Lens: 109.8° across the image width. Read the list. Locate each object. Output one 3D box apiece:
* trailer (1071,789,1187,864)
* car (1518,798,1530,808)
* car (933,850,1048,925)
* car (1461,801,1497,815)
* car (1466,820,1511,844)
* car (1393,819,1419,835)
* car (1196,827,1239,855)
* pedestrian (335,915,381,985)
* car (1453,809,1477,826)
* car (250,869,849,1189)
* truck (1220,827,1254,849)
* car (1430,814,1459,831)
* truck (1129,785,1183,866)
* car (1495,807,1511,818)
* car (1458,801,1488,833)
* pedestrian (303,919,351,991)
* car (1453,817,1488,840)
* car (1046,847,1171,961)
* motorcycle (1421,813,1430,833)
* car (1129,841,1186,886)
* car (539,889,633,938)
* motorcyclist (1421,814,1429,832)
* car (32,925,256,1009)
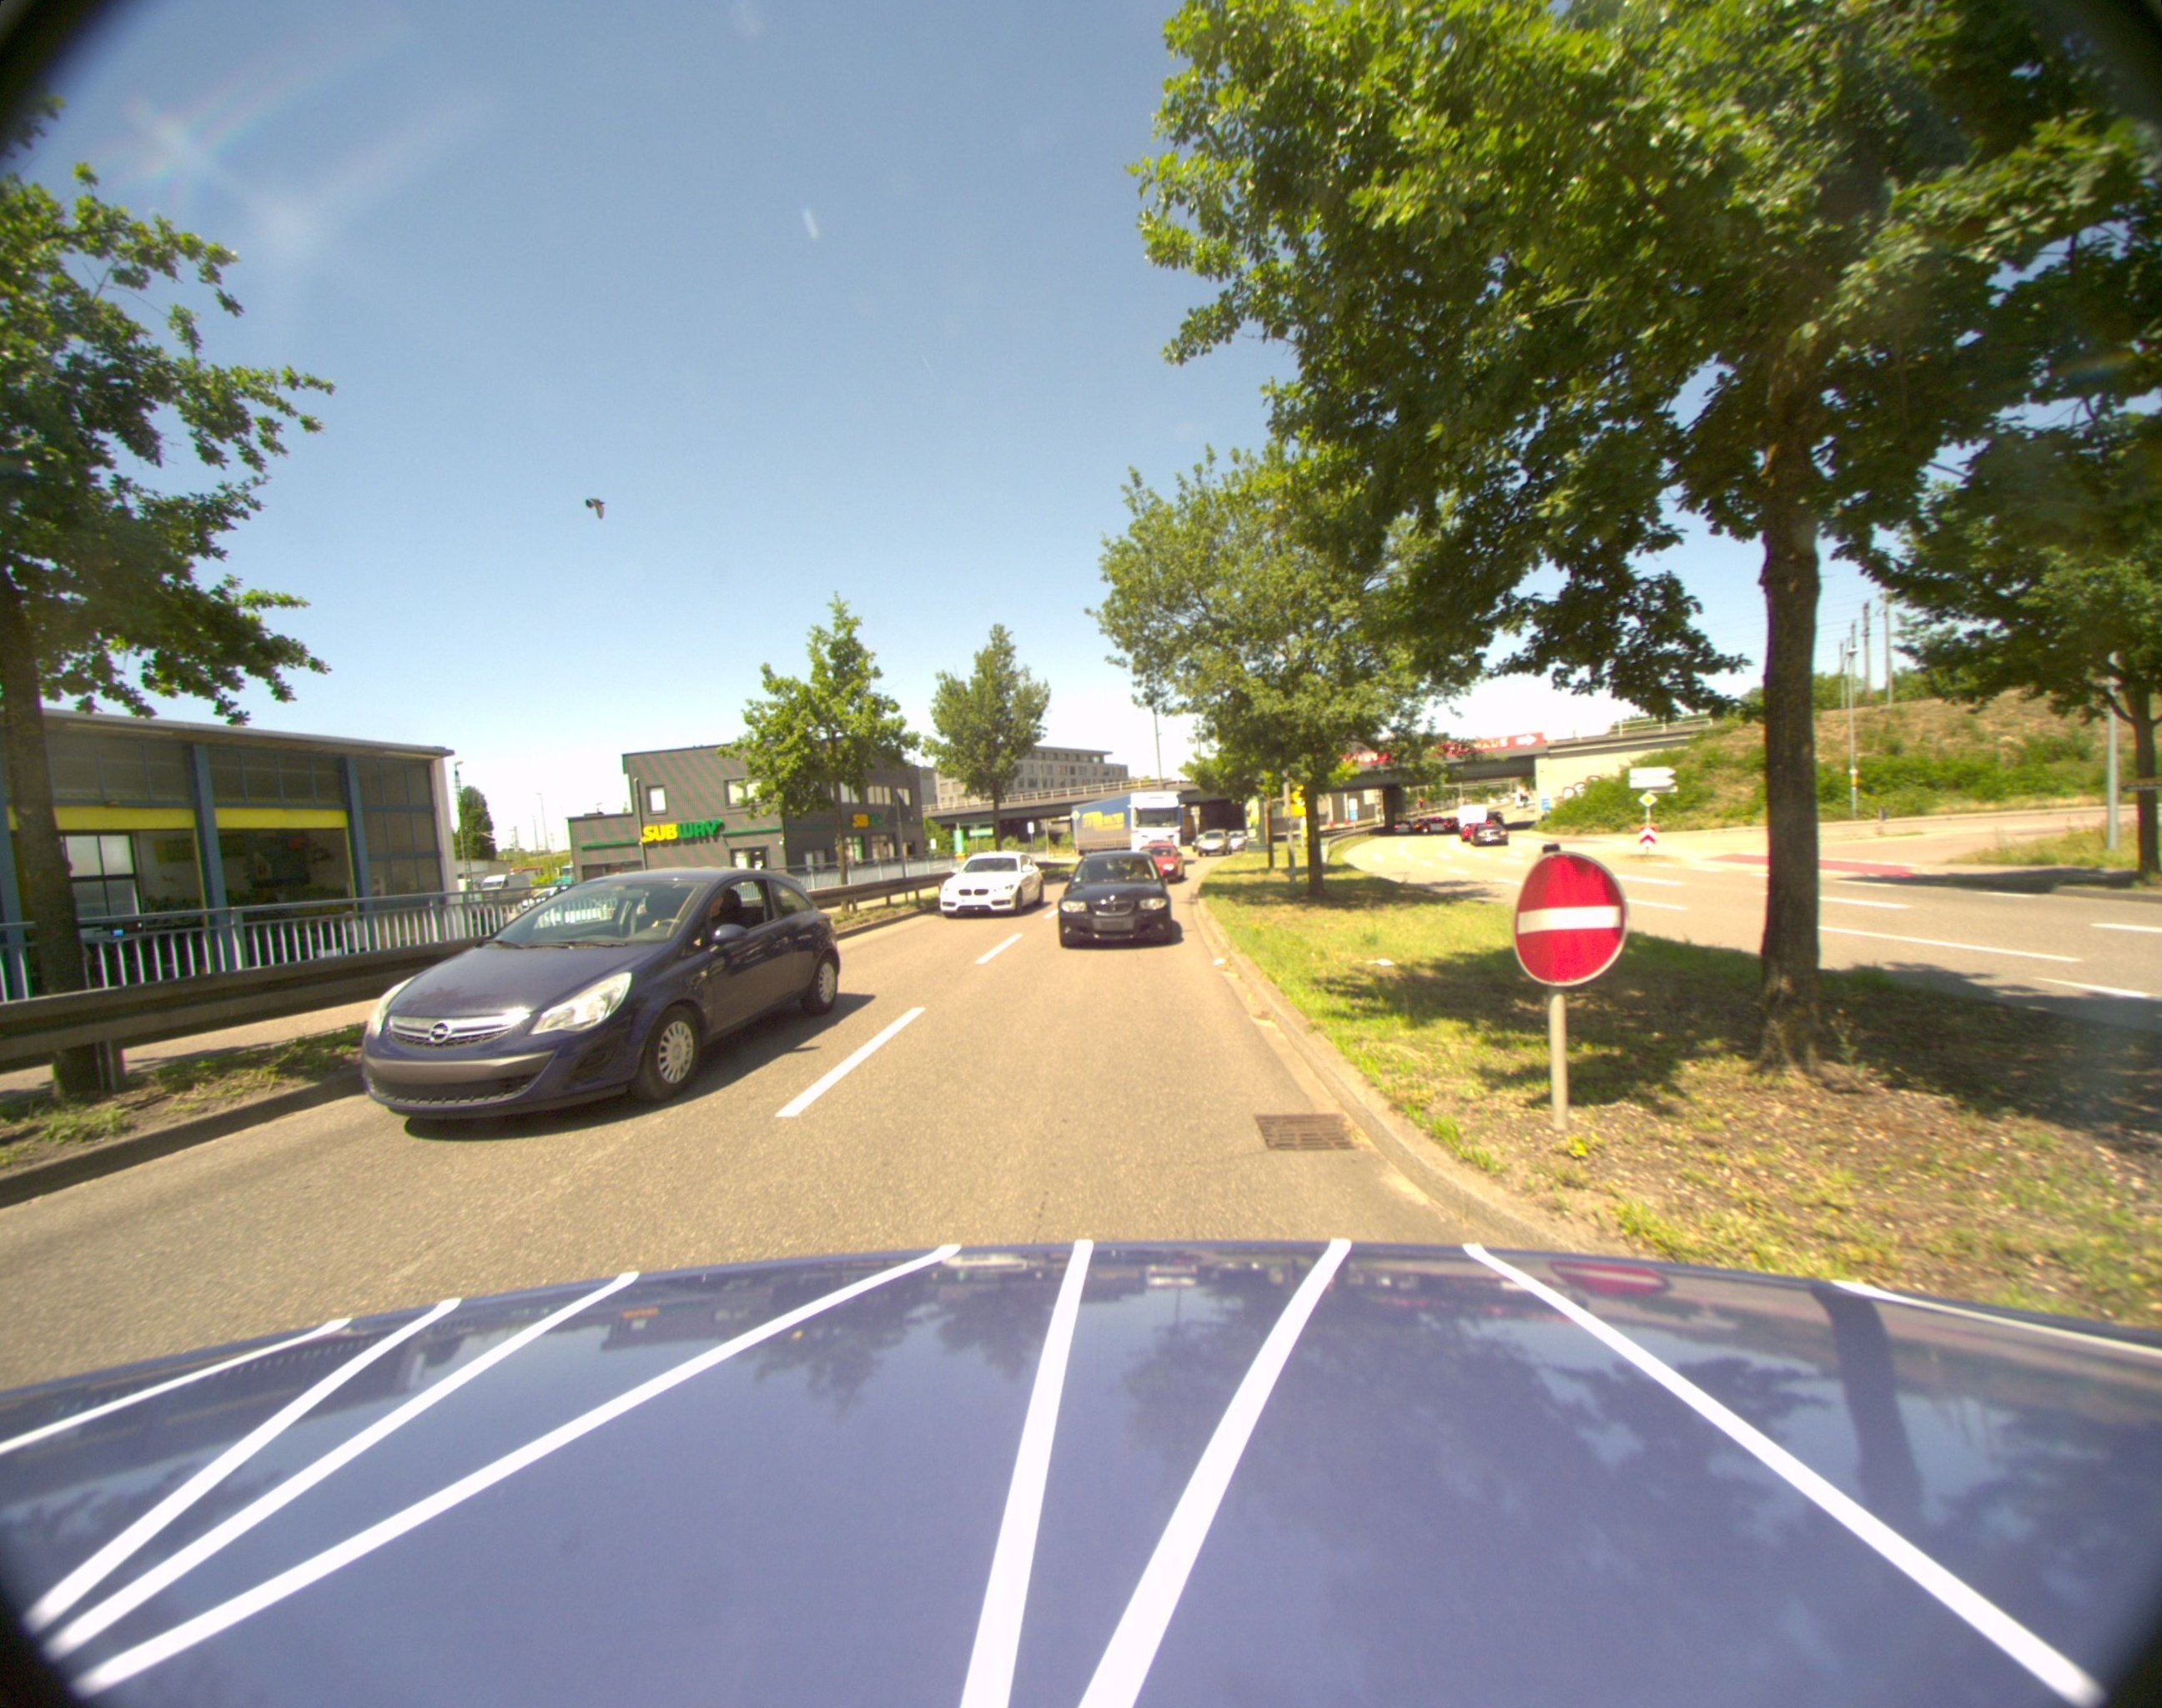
[{"bbox_3d":[2.658,-1.608,49.318,2.501,4.067,13.883,-5,2,-17],"label":"trailer"},{"bbox_3d":[96.733,-11.159,165.932,1.995,2.091,6.393,-2,3,33],"label":"car"},{"bbox_3d":[-2.049,0.719,18.393,1.761,1.435,4.053,-1,2,8],"label":"car"},{"bbox_3d":[57.794,-6.688,110.439,4.311,1.849,1.874,-3,3,20],"label":"car"},{"bbox_3d":[25.659,-1.413,47.987,1.811,1.326,4.573,-3,2,20],"label":"car"},{"bbox_3d":[32.367,-2.715,75.580,1.635,1.395,4.228,0,3,33],"label":"car"},{"bbox_3d":[9.231,-0.888,51.279,1.842,1.686,3.704,-2,3,26],"label":"car"},{"bbox_3d":[-18.600,2.465,19.551,0.427,1.693,0.589,-3,3,8],"label":"pedestrian"},{"bbox_3d":[45.816,-4.344,90.643,1.903,1.849,4.006,-2,3,36],"label":"car"},{"bbox_3d":[-3.360,0.963,5.886,1.650,1.436,3.891,-3,1,4],"label":"car"},{"bbox_3d":[11.998,-1.241,58.265,1.728,1.493,4.004,-2,2,22],"label":"truck"},{"bbox_3d":[34.653,-3.009,72.363,1.635,1.558,4.079,-1,2,37],"label":"car"},{"bbox_3d":[4.079,-1.610,42.417,2.573,4.079,5.761,-3,2,3],"label":"truck"},{"bbox_3d":[50.335,-4.938,90.612,1.183,1.241,2.696,-1,3,39],"label":"car"},{"bbox_3d":[33.106,-3.097,64.258,2.096,2.486,5.818,-1,1,26],"label":"car"},{"bbox_3d":[-18.553,2.474,18.704,0.522,1.693,0.488,-3,3,9],"label":"pedestrian"},{"bbox_3d":[28.361,-1.887,55.434,1.832,1.429,4.531,-2,2,22],"label":"car"},{"bbox_3d":[0.617,0.693,12.733,1.681,1.409,4.056,-3,2,7],"label":"car"},{"bbox_3d":[31.511,-2.852,69.506,0.598,1.669,2.428,-2,3,28],"label":"motorcycle"},{"bbox_3d":[2.860,0.309,27.622,1.645,1.391,4.054,-1,2,12],"label":"car"},{"bbox_3d":[-18.222,2.104,27.857,2.003,1.350,5.068,-5,3,-42],"label":"car"},{"bbox_3d":[31.476,-2.810,69.452,0.587,1.617,0.563,-2,3,29],"label":"motorcyclist"},{"bbox_3d":[-23.638,2.823,19.249,3.676,1.675,1.650,-3,2,4],"label":"car"}]
